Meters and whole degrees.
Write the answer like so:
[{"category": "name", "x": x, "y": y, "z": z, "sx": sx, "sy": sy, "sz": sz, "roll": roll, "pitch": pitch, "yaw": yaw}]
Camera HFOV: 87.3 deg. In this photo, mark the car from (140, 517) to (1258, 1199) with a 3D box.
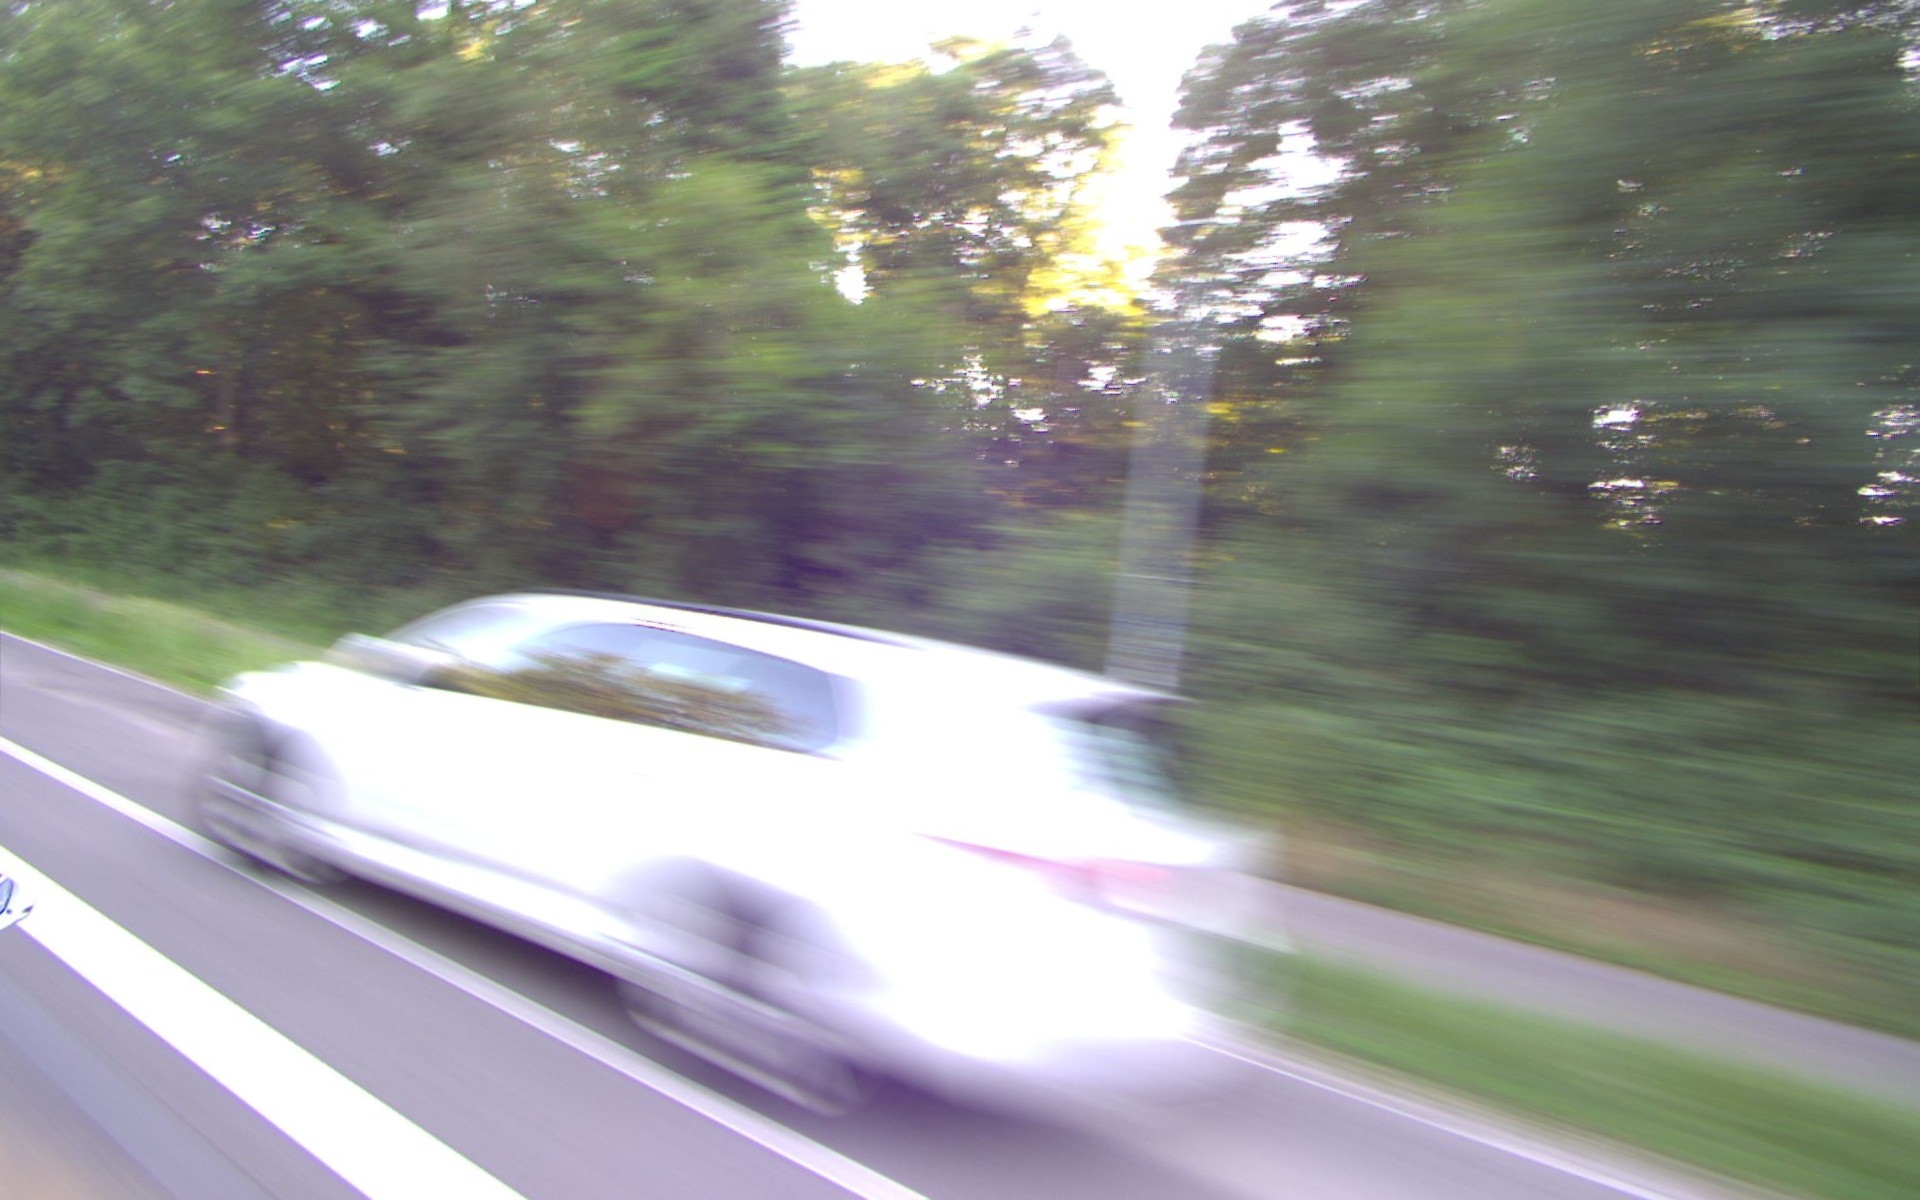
[{"category": "car", "x": -1.341, "y": 0.696, "z": 4.439, "sx": 4.677, "sy": 1.511, "sz": 1.848, "roll": 7, "pitch": -1, "yaw": 29}]
